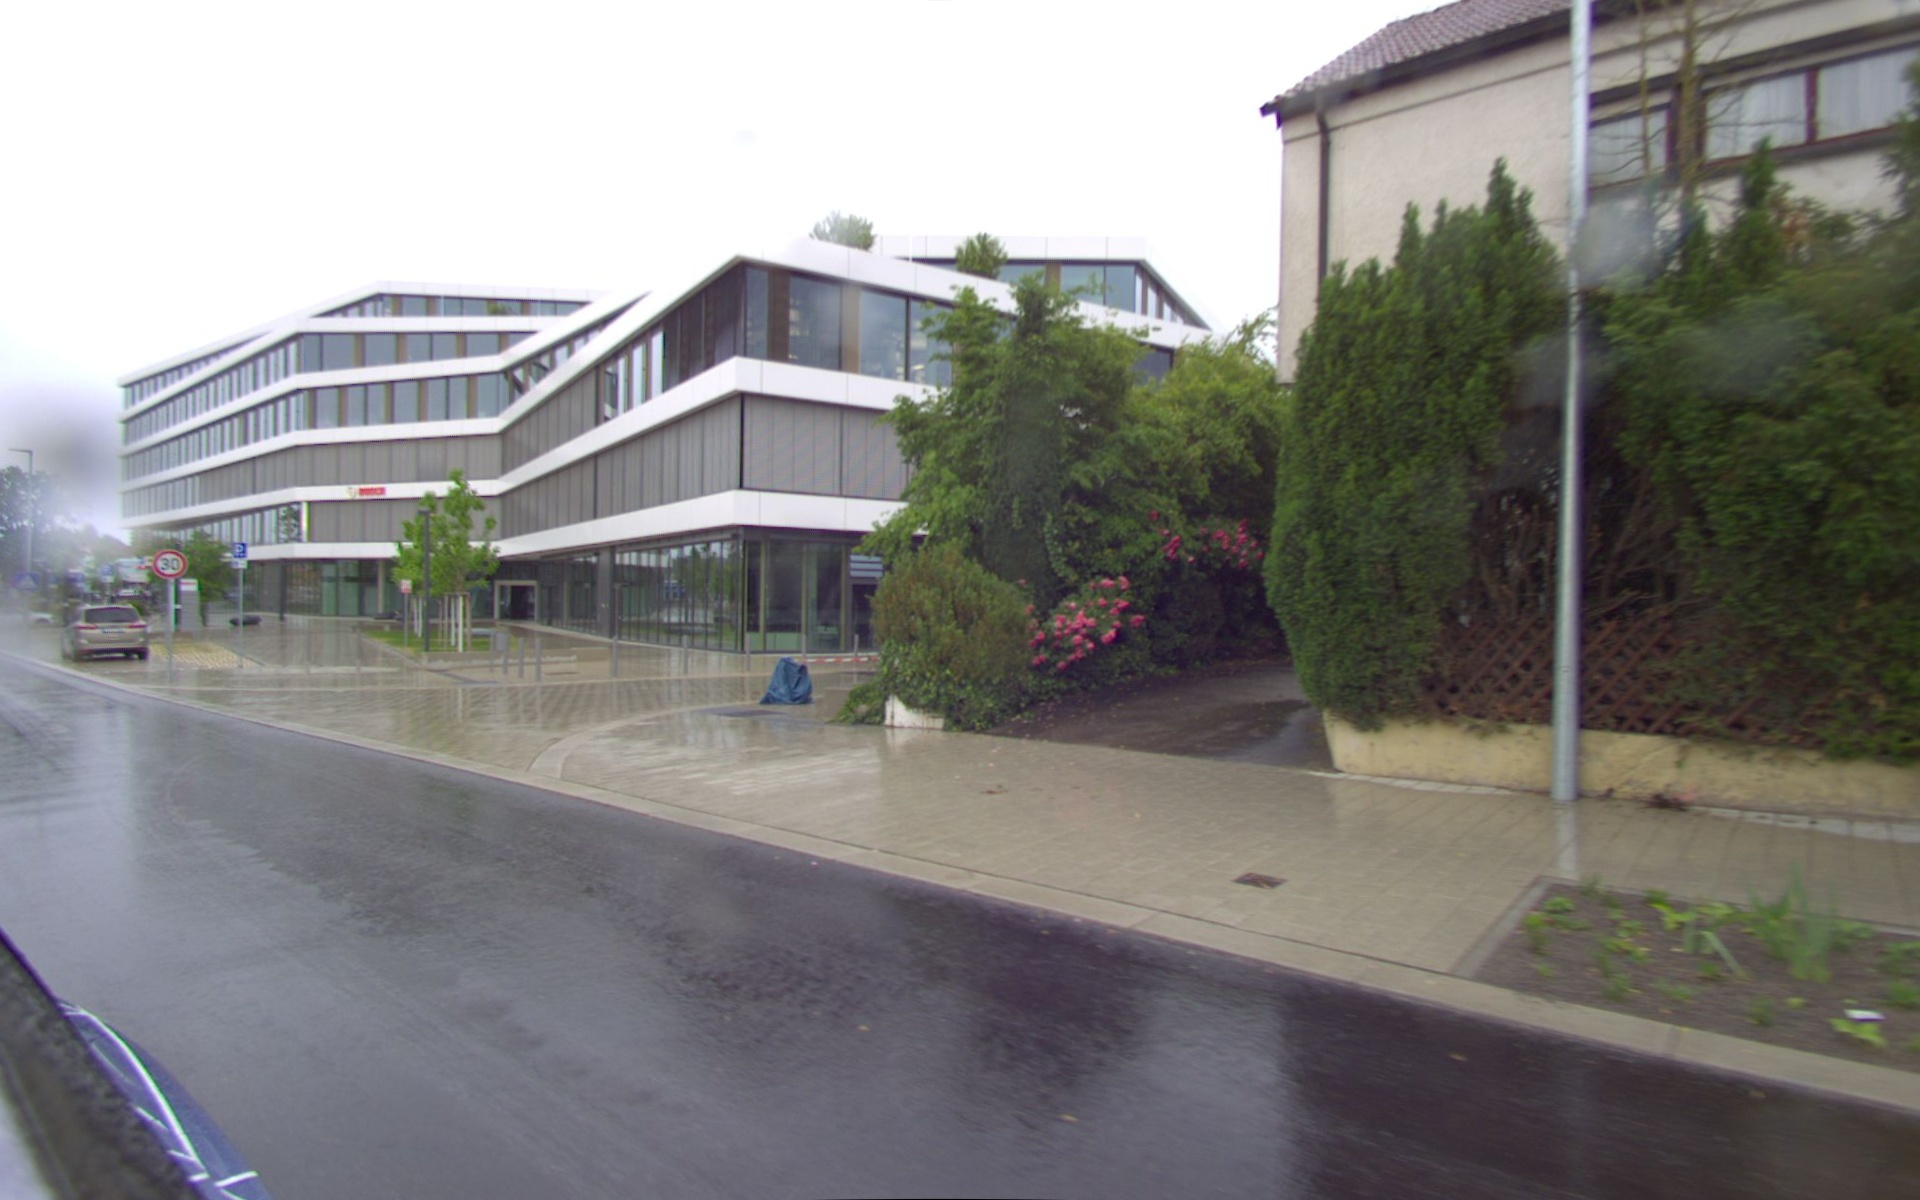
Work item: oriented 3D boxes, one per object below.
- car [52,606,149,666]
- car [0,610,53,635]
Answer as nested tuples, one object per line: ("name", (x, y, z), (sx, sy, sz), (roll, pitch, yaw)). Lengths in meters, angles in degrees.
("car", (-26.361, 1.056, 31.007), (4.324, 1.719, 1.817), (-1, -1, 43))
("car", (-59.075, 1.426, 62.763), (4.109, 1.430, 2.002), (-2, 1, -44))
